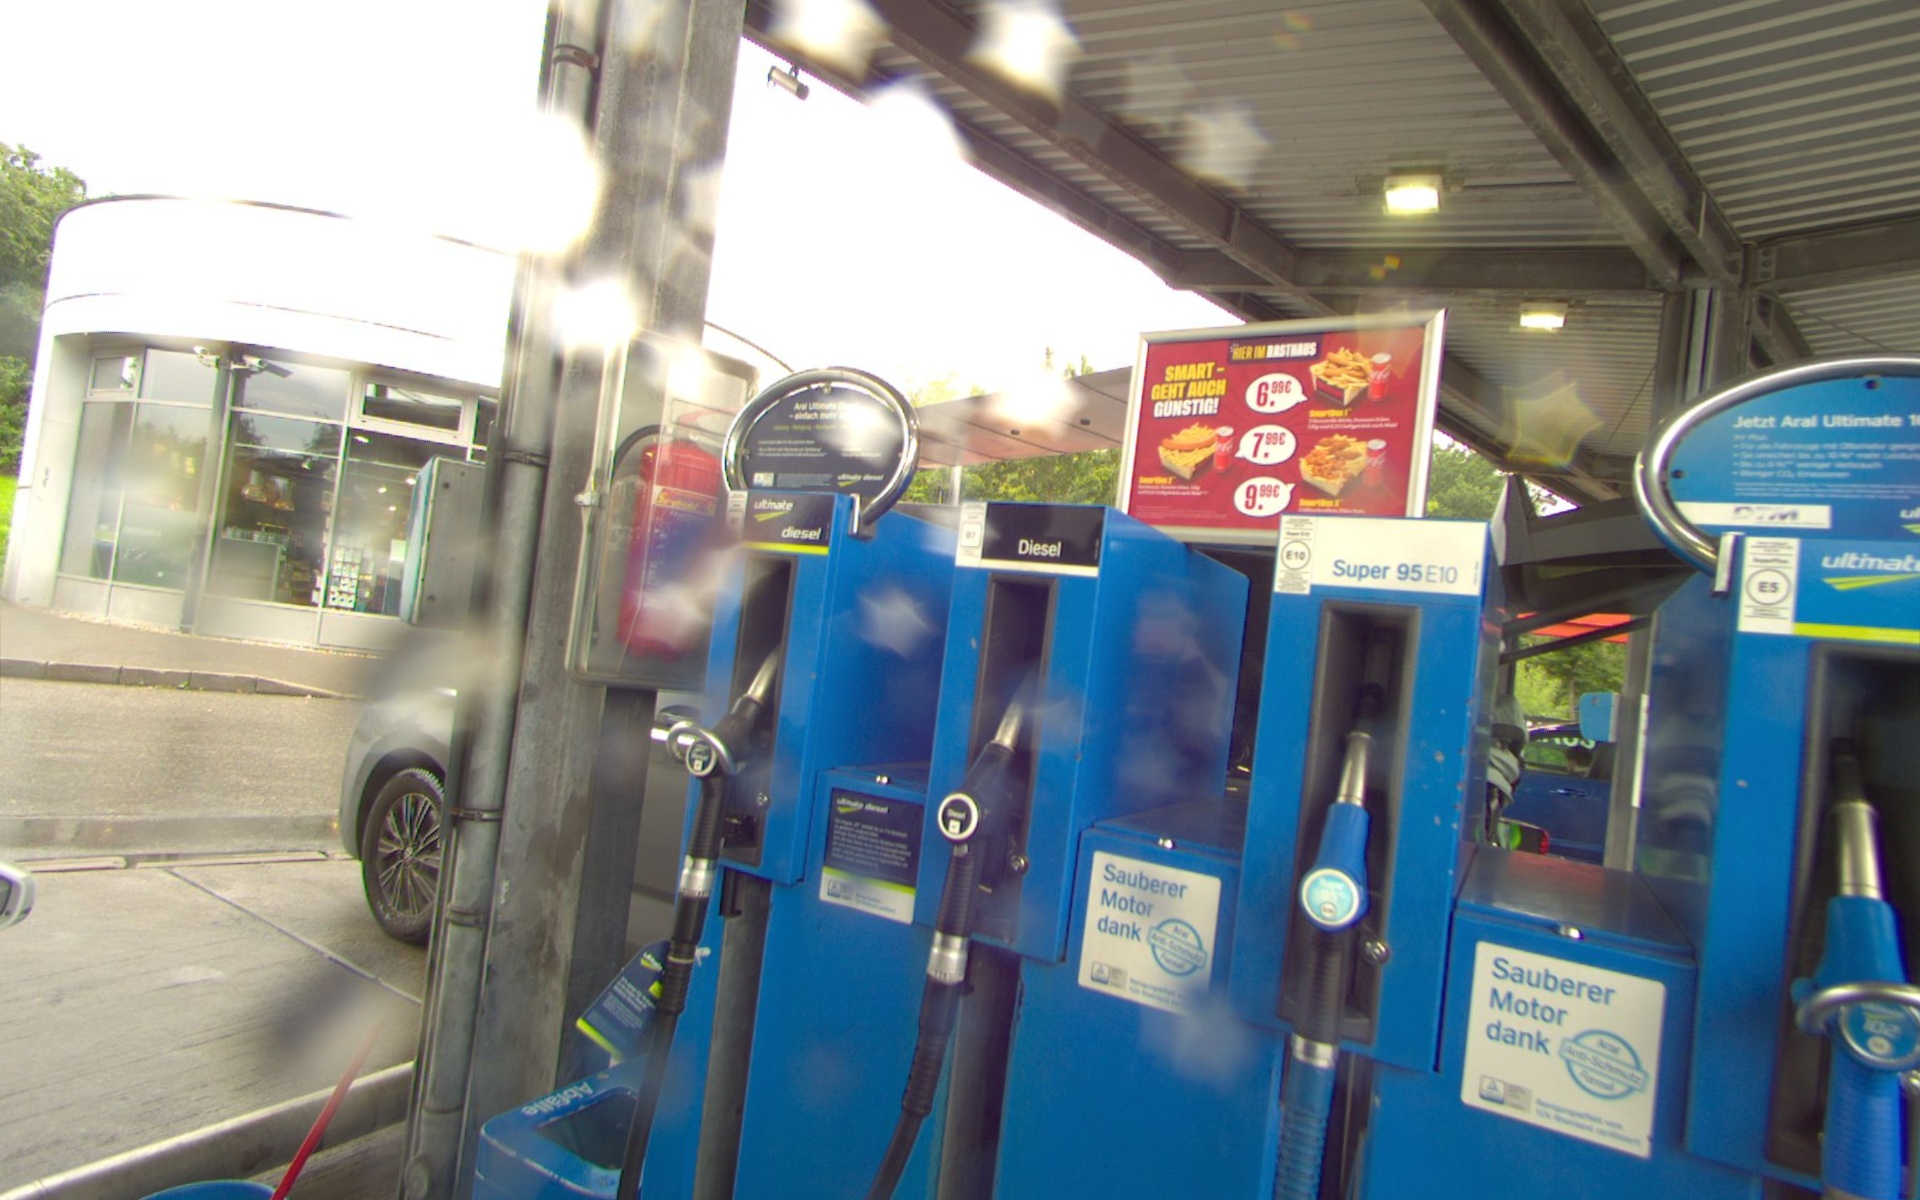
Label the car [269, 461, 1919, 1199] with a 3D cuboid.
[{"bbox_3d":[-0.179,0.640,3.694,5.055,1.819,1.865,6,-2,32],"label":"car"}]
